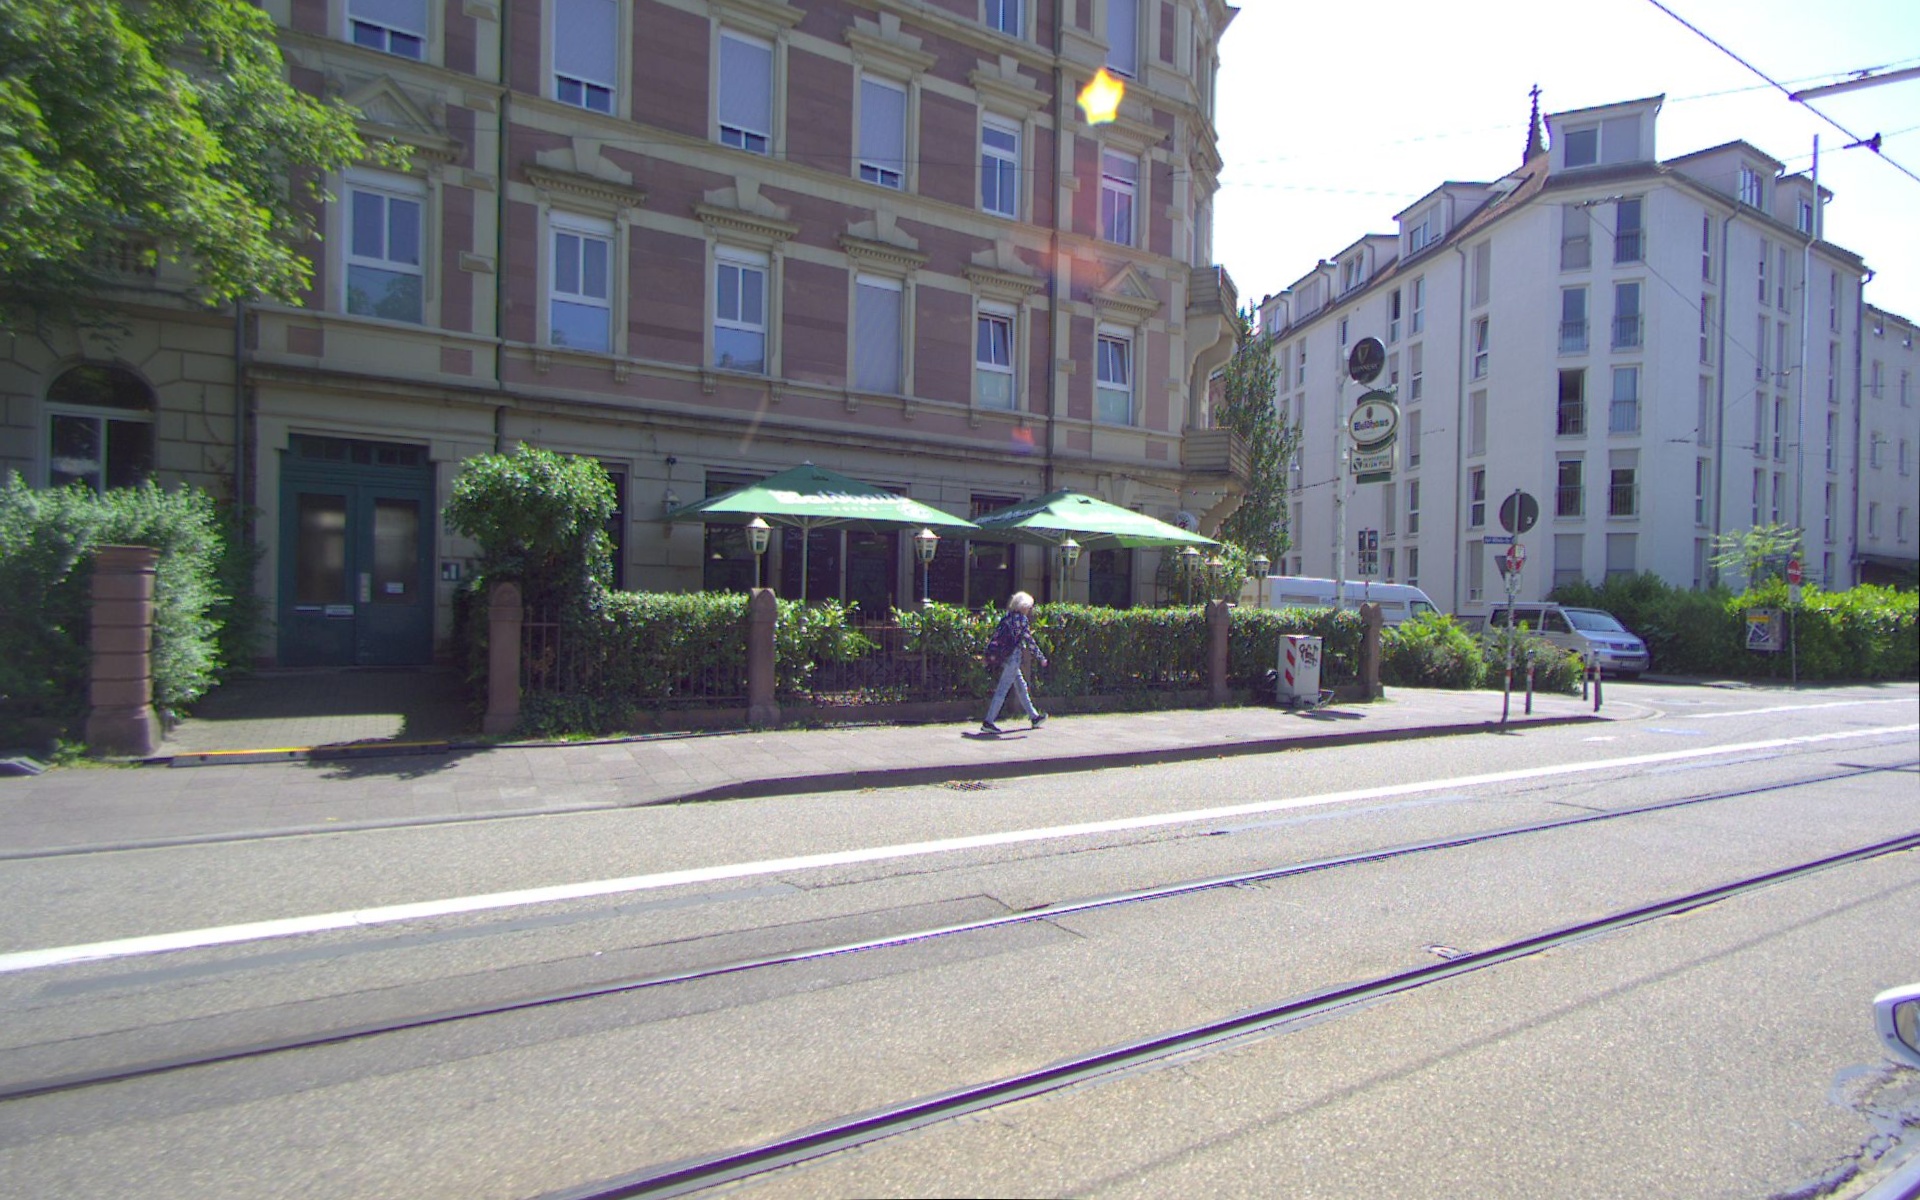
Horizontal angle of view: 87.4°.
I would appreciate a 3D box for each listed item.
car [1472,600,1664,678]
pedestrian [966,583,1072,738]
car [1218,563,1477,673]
[{"bbox_3d":[17.057,1.019,28.506,2.117,2.011,4.698,1,0,-9],"label":"car"},{"bbox_3d":[0.658,0.659,11.333,0.928,1.664,0.737,1,0,-28],"label":"pedestrian"},{"bbox_3d":[10.005,0.493,26.092,6.080,2.624,2.121,1,0,-11],"label":"car"}]
